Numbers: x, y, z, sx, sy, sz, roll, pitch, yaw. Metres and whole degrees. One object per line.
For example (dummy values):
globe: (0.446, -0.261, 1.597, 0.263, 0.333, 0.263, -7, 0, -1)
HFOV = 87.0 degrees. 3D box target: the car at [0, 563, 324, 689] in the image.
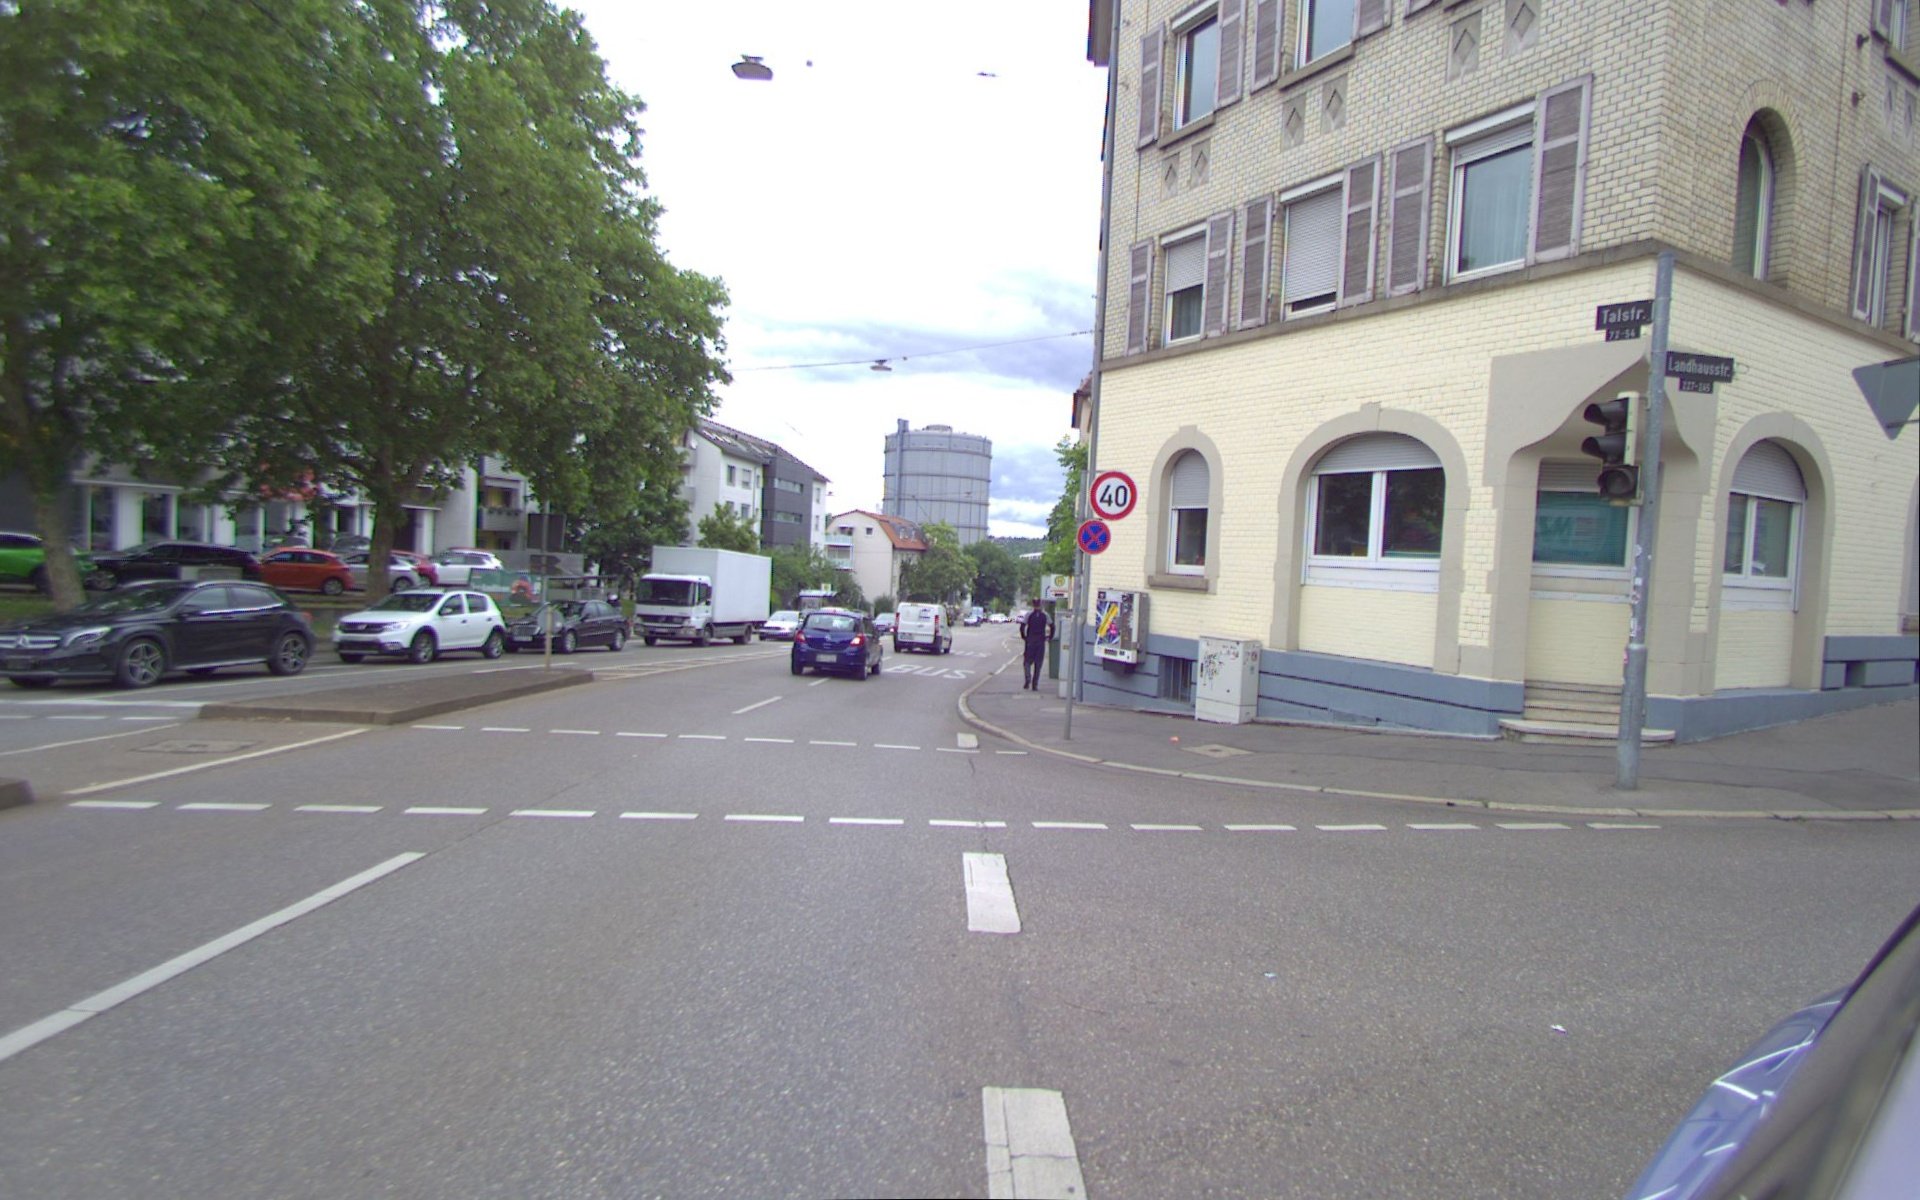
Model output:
car: (-11.770, 0.299, 14.871, 1.964, 1.545, 4.252, 1, 0, 4)

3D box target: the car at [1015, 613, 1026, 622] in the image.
car: (12.130, 3.524, 203.877, 1.966, 1.620, 3.991, 1, 0, 7)

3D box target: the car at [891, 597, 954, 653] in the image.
car: (-1.415, 0.929, 39.832, 1.838, 1.907, 4.279, 5, 0, 5)

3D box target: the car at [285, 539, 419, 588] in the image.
car: (-22.104, -1.331, 36.854, 3.927, 1.523, 1.862, 3, 1, -39)

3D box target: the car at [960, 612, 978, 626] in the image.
car: (1.208, 2.477, 132.271, 1.966, 1.620, 3.991, 1, 0, 7)

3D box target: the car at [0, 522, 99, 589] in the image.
car: (-24.269, -1.183, 25.593, 3.539, 1.572, 1.623, 3, 1, -32)

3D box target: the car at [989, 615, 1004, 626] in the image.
car: (5.730, 3.140, 159.237, 1.966, 1.620, 3.991, 1, 0, 7)

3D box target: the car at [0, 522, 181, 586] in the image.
car: (-24.384, -1.266, 28.236, 3.919, 1.523, 1.758, 3, 1, -30)

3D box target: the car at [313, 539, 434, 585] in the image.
car: (-22.886, -1.465, 39.614, 3.919, 1.523, 1.866, 3, 1, -30)

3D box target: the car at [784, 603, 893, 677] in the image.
car: (-2.704, 0.849, 23.339, 1.729, 1.465, 3.746, 2, 0, 5)

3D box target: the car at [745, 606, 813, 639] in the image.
car: (-8.268, 0.994, 46.585, 1.887, 1.315, 4.400, 1, 0, 7)

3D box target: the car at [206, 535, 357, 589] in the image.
car: (-22.535, -1.261, 33.675, 3.930, 1.523, 1.861, 3, 1, -41)

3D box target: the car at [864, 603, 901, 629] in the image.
car: (-5.315, 1.073, 69.899, 1.964, 1.650, 4.405, 1, 0, 3)

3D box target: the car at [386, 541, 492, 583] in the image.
car: (-22.058, -1.604, 42.934, 1.787, 1.523, 3.560, 4, 1, 43)

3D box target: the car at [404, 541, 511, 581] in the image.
car: (-22.713, -1.763, 45.809, 3.934, 1.523, 1.859, 2, 1, -45)

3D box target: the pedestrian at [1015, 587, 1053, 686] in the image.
pedestrian: (1.505, 0.718, 20.468, 0.734, 1.961, 0.902, 0, 0, 6)

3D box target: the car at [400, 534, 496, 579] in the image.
car: (-24.321, -2.057, 48.050, 3.919, 1.845, 1.866, 3, 1, -30)

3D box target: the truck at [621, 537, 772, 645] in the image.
truck: (-9.537, -0.325, 37.751, 2.725, 3.546, 8.157, 1, 0, 6)

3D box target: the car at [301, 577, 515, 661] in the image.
car: (-11.460, 0.347, 21.400, 1.964, 1.545, 4.252, 1, 0, 4)

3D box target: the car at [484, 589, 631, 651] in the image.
car: (-10.801, 0.487, 27.526, 1.964, 1.484, 4.404, 1, 0, 4)

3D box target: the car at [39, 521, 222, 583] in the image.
car: (-24.632, -1.410, 30.249, 3.919, 1.523, 1.866, 3, 1, -30)

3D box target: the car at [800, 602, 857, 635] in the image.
car: (-7.020, 0.968, 54.659, 1.966, 1.650, 4.399, 1, 0, 8)
